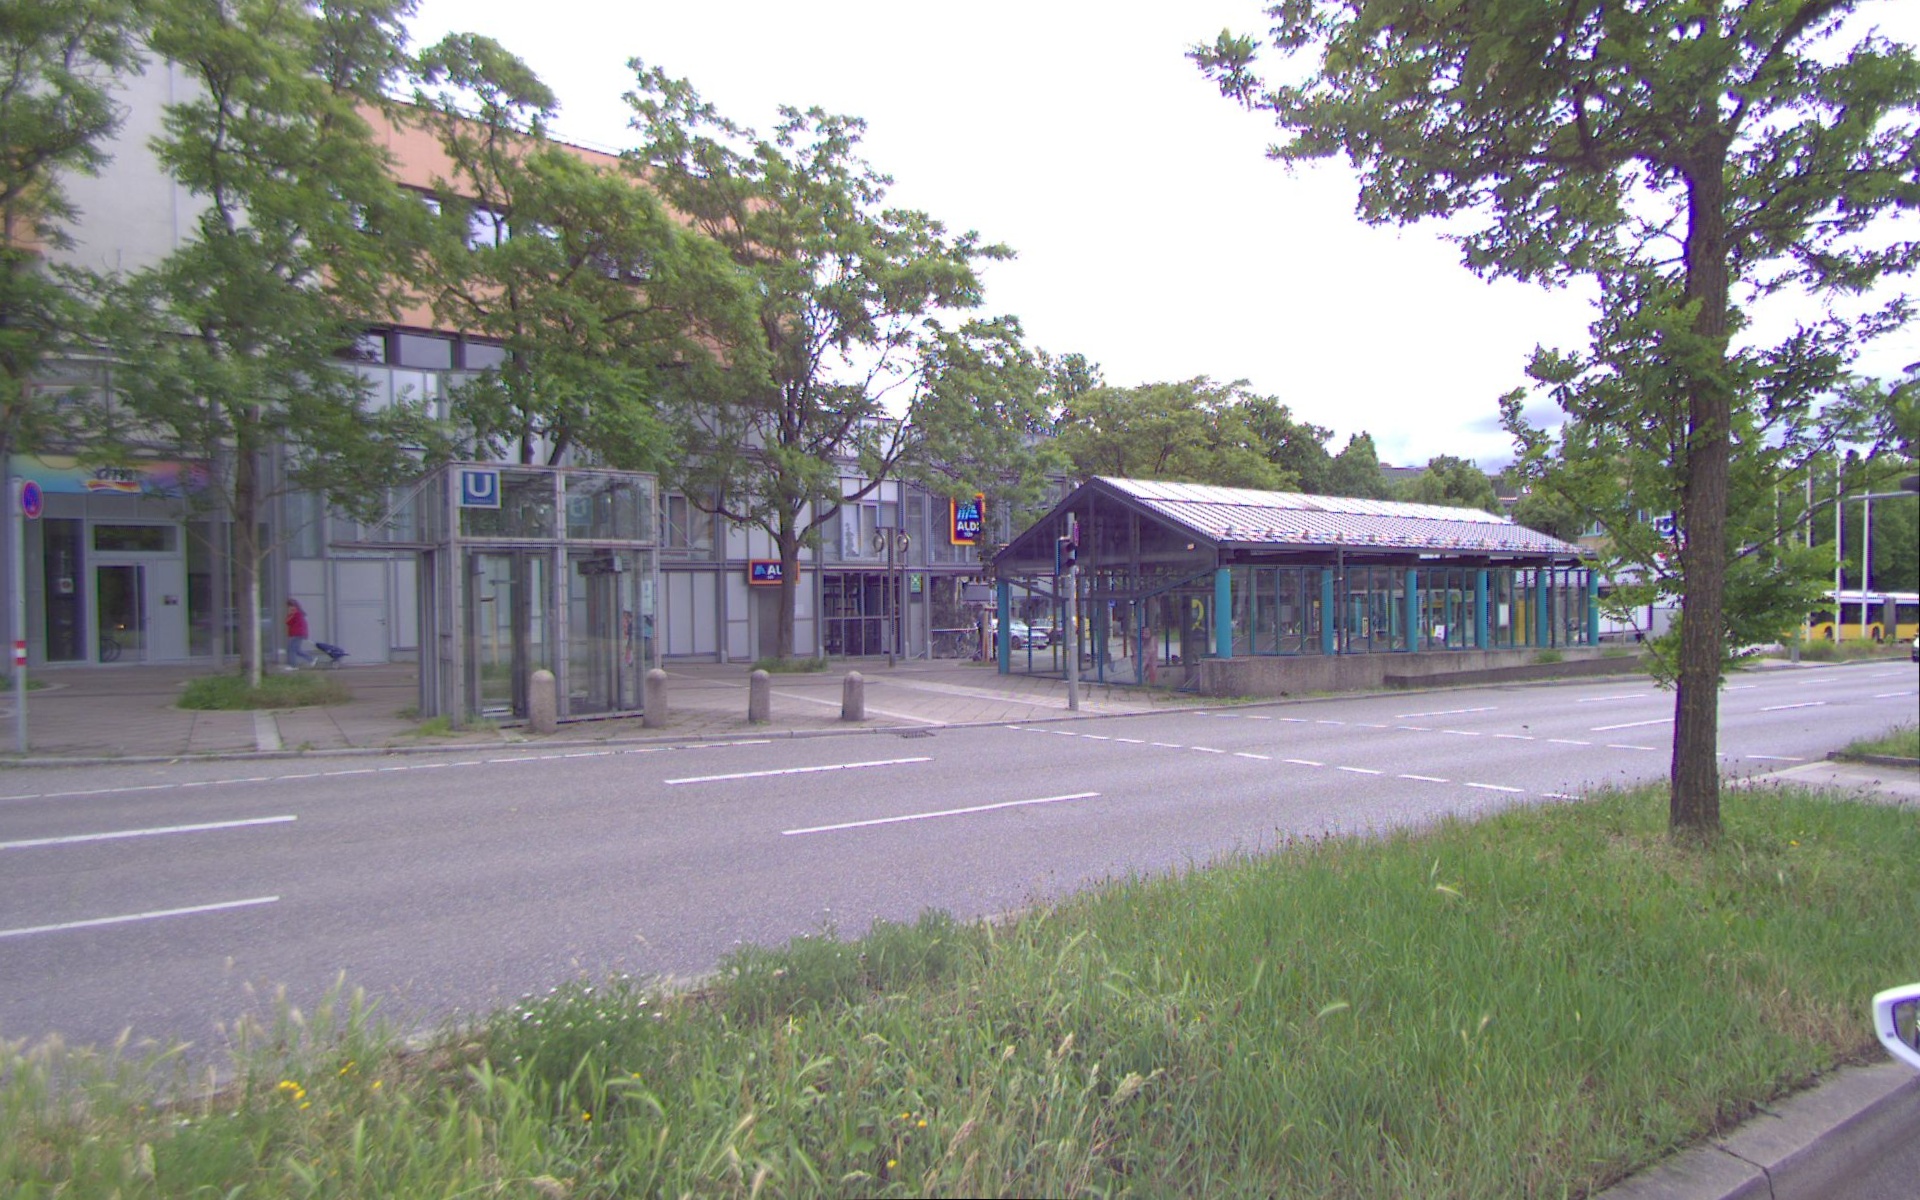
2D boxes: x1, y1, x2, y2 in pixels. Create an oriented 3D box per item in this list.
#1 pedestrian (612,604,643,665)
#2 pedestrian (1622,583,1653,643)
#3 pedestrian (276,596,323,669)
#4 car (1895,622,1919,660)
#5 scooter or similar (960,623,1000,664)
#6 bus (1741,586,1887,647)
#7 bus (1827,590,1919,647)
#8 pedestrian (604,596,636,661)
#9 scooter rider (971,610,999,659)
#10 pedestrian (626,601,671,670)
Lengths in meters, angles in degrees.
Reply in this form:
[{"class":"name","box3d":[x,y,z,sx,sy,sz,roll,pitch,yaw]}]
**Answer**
[{"class":"pedestrian","box3d":[-8.893,0.917,26.859,0.674,1.610,0.513,0,0,-39]},{"class":"pedestrian","box3d":[23.221,0.454,34.430,0.639,2.040,0.677,1,-1,-34]},{"class":"pedestrian","box3d":[-14.811,0.722,22.529,0.819,1.607,0.629,1,-1,-40]},{"class":"car","box3d":[39.314,1.636,40.089,3.955,1.506,1.983,1,-1,-32]},{"class":"scooter or similar","box3d":[0.665,1.424,32.867,1.277,1.284,0.476,0,2,-39]},{"class":"bus","box3d":[51.697,1.057,60.724,10.591,3.476,2.822,1,-1,-26]},{"class":"bus","box3d":[60.715,1.221,65.221,10.591,3.476,2.822,1,-1,-26]},{"class":"pedestrian","box3d":[-9.247,0.776,27.331,0.674,1.750,0.560,0,0,-39]},{"class":"scooter rider","box3d":[0.823,1.129,32.986,0.701,1.566,0.521,0,2,-39]},{"class":"pedestrian","box3d":[-8.091,0.909,26.109,0.879,1.739,0.764,0,2,-39]}]
